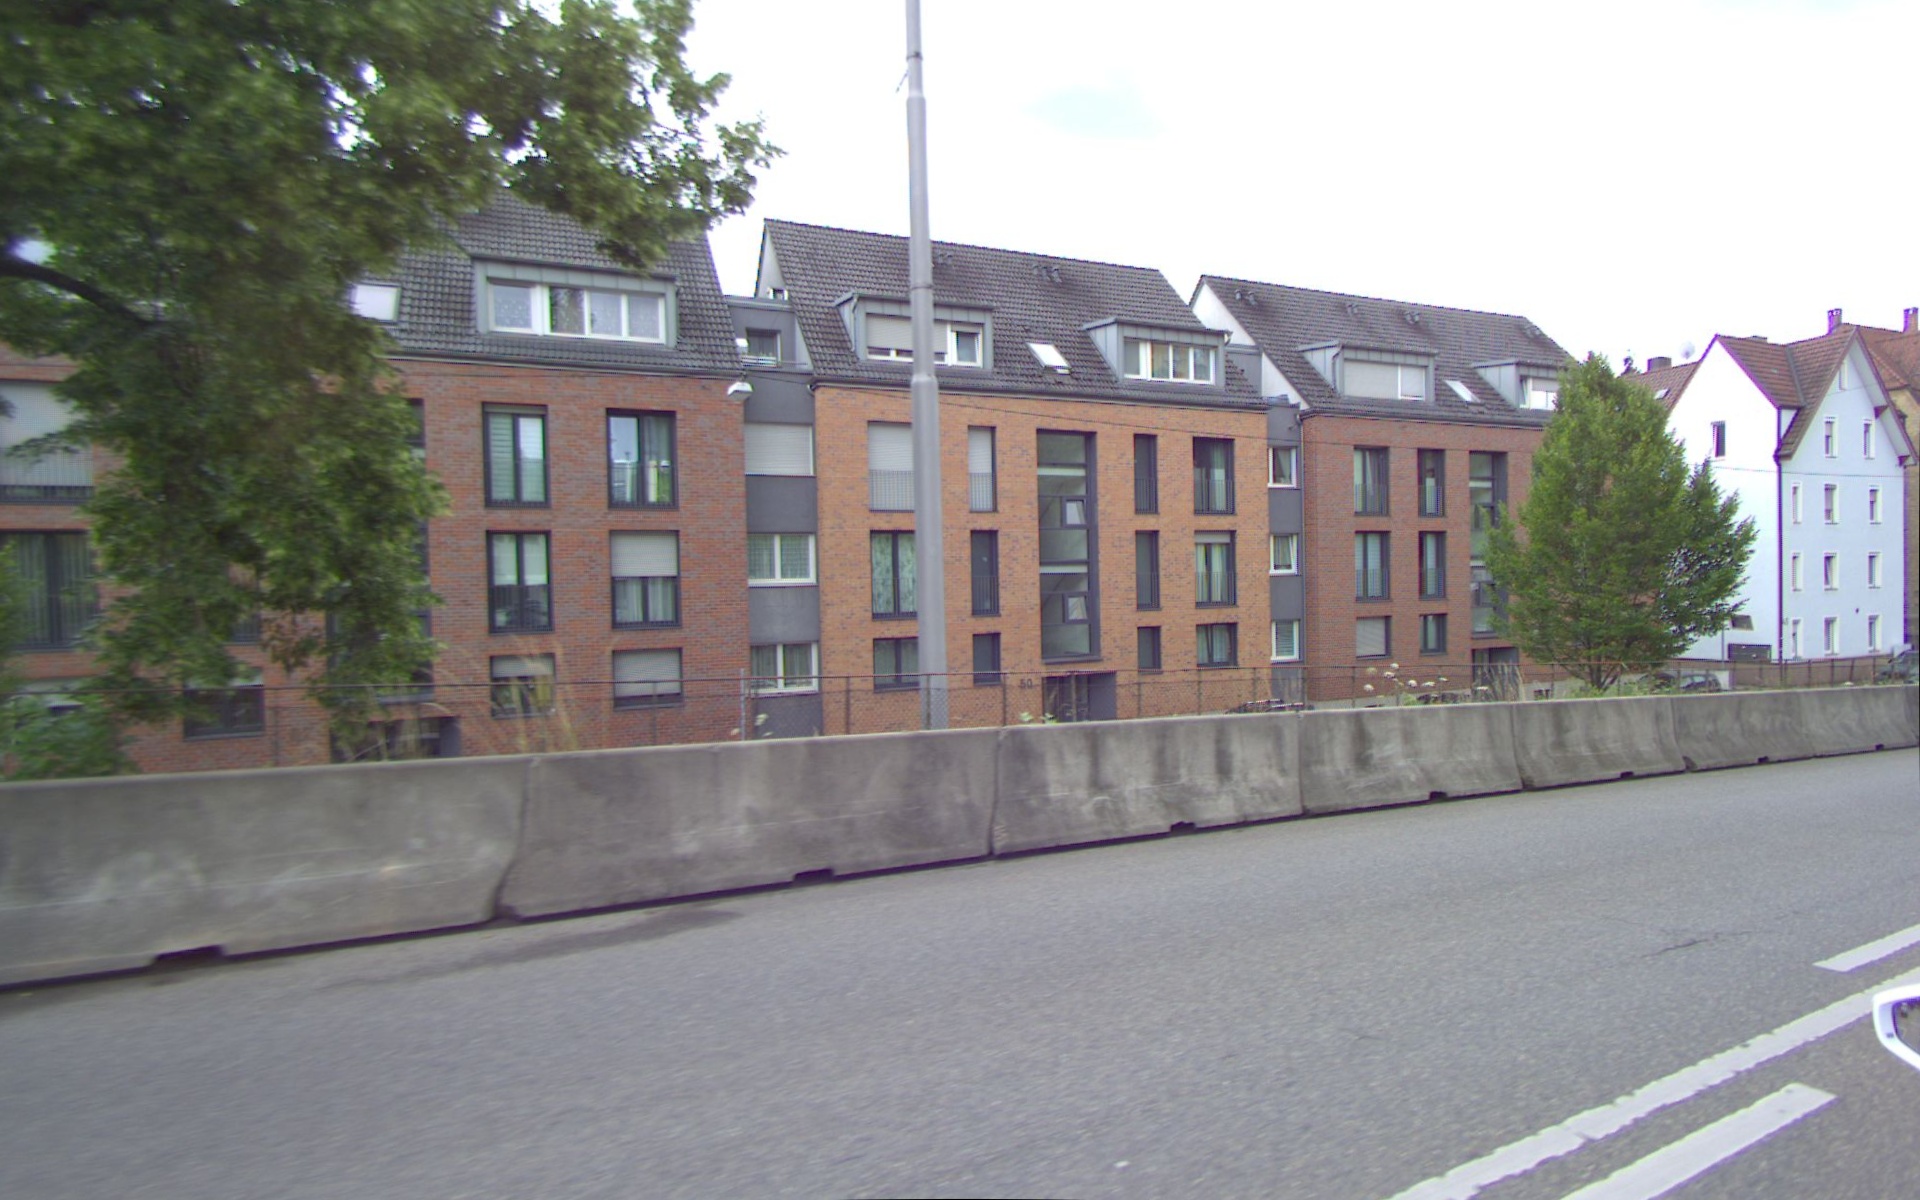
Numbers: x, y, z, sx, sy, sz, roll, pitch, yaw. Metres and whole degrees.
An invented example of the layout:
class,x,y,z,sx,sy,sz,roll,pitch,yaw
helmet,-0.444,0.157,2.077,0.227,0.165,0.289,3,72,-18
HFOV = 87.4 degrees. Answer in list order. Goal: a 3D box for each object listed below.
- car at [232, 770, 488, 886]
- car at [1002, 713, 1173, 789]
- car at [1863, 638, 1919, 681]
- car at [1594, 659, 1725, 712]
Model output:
class,x,y,z,sx,sy,sz,roll,pitch,yaw
car,-11.165,4.227,19.039,3.944,1.530,1.790,0,-2,-24
car,3.238,3.764,25.467,3.943,1.530,1.790,0,-2,-23
car,39.120,2.392,41.037,3.943,1.530,1.790,-1,0,-23
car,24.368,2.946,34.978,4.155,1.629,1.790,0,-2,-23
